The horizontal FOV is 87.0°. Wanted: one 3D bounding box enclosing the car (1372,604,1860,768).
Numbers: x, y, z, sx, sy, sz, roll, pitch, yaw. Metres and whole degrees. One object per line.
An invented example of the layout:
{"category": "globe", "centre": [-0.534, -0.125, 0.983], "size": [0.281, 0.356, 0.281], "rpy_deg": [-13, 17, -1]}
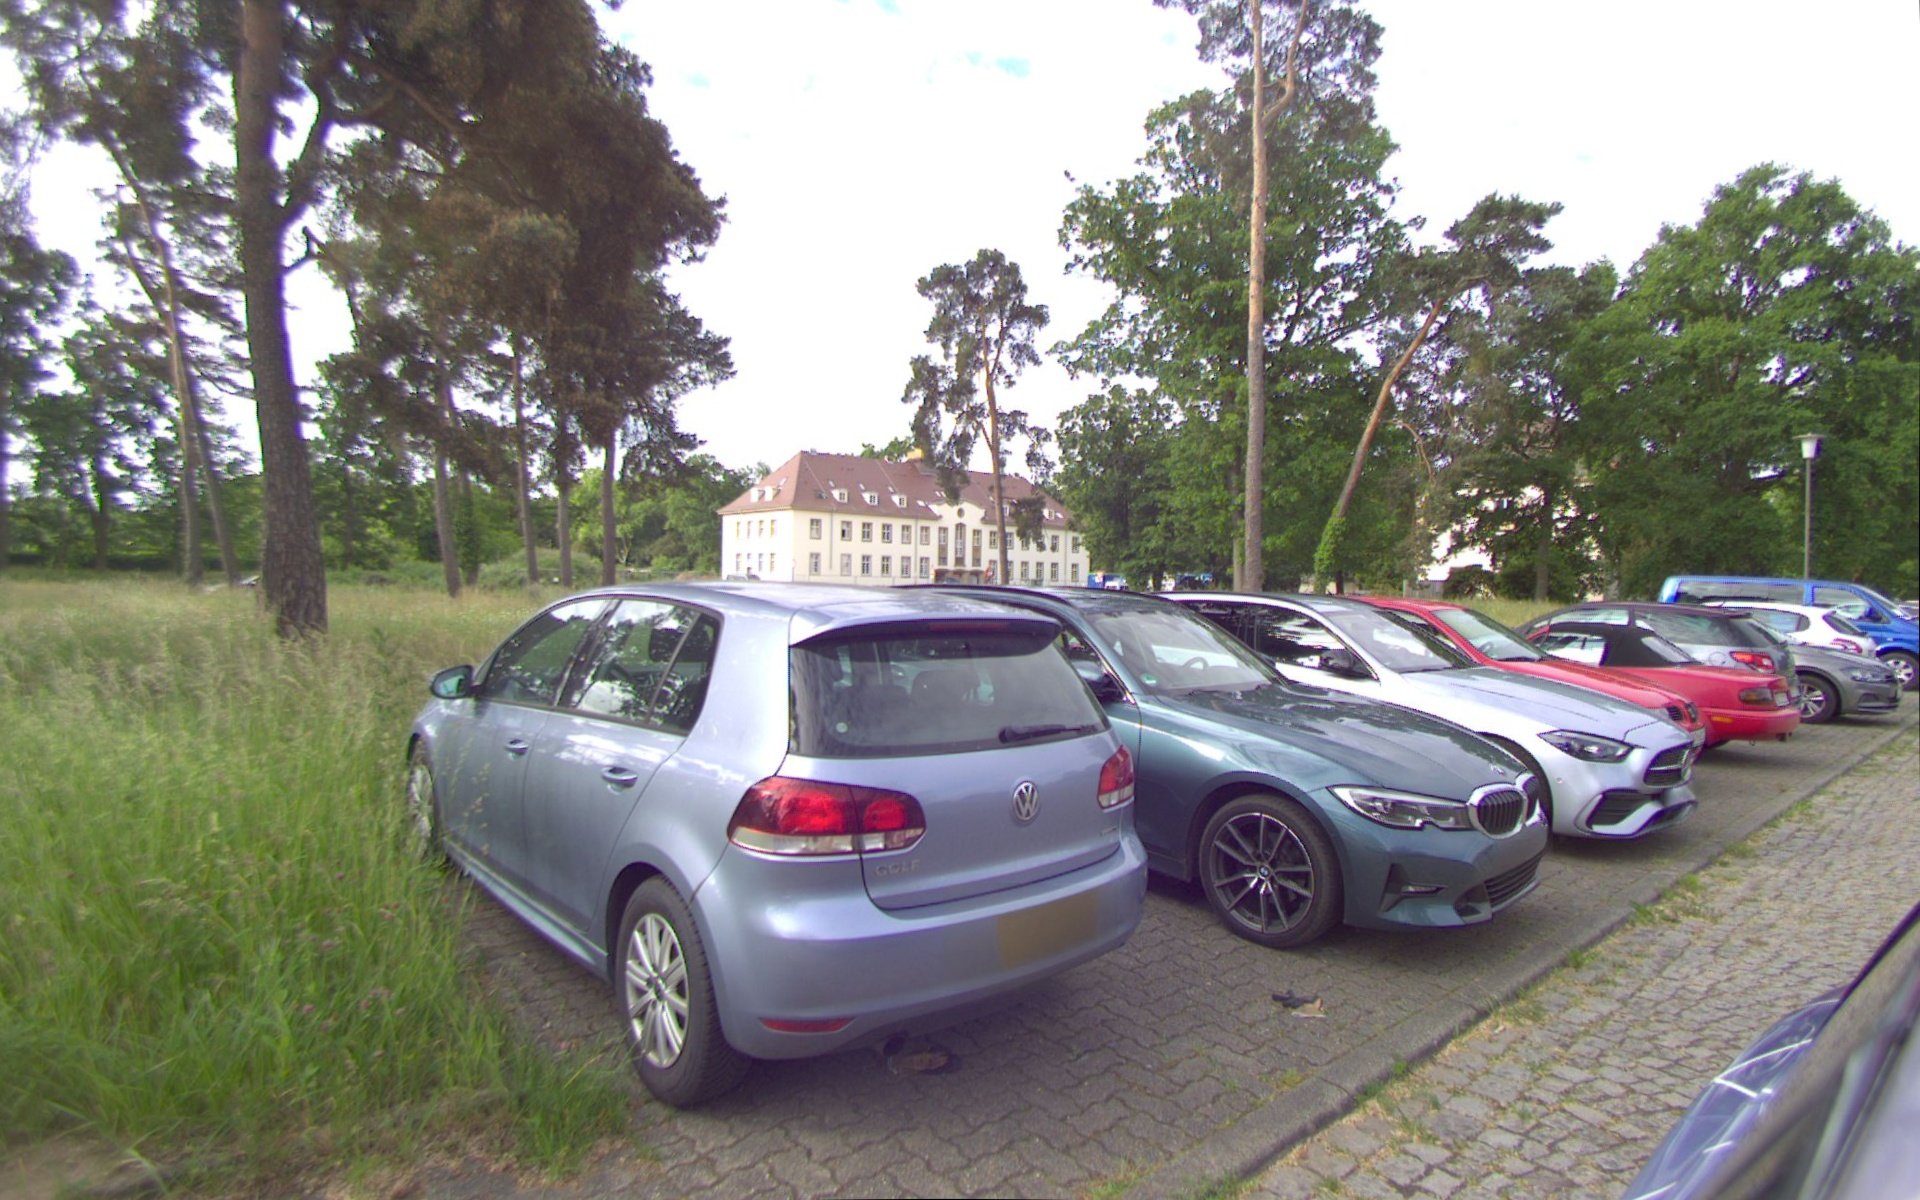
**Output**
{"category": "car", "centre": [6.634, 0.731, 10.589], "size": [1.764, 1.250, 3.932], "rpy_deg": [0, 2, -39]}

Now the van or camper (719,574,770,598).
{"category": "van or camper", "centre": [-22.580, -1.503, 105.773], "size": [2.423, 2.335, 6.116], "rpy_deg": [0, 2, -42]}

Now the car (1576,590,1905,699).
{"category": "car", "centre": [12.482, 0.611, 16.381], "size": [1.765, 1.467, 3.931], "rpy_deg": [0, 1, -40]}

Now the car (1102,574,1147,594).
{"category": "car", "centre": [17.118, -1.674, 105.035], "size": [4.752, 2.039, 2.163], "rpy_deg": [0, 1, -43]}

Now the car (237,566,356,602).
{"category": "car", "centre": [-30.880, -0.755, 47.154], "size": [4.375, 1.606, 1.996], "rpy_deg": [0, 1, -43]}

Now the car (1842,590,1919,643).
{"category": "car", "centre": [30.703, 0.539, 32.070], "size": [1.967, 1.589, 3.991], "rpy_deg": [0, 2, -43]}

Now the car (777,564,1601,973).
{"category": "car", "centre": [0.864, 0.541, 5.982], "size": [1.765, 1.463, 4.628], "rpy_deg": [0, 2, -40]}

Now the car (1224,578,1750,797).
{"category": "car", "centre": [4.616, 0.593, 9.372], "size": [1.764, 1.531, 3.934], "rpy_deg": [0, 1, -38]}

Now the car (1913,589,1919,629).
{"category": "car", "centre": [41.794, 0.422, 41.460], "size": [1.964, 1.645, 3.791], "rpy_deg": [0, 1, -39]}

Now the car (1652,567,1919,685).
{"category": "car", "centre": [16.549, 0.408, 19.554], "size": [1.963, 2.039, 4.844], "rpy_deg": [0, 1, -36]}

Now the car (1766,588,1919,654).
{"category": "car", "centre": [23.047, 0.500, 25.460], "size": [1.835, 1.523, 3.998], "rpy_deg": [0, 1, -38]}

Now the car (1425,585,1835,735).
{"category": "car", "centre": [8.178, 0.603, 12.652], "size": [1.764, 1.494, 3.932], "rpy_deg": [0, 1, -39]}

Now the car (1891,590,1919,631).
{"category": "car", "centre": [38.356, 0.438, 38.710], "size": [1.964, 1.589, 3.791], "rpy_deg": [0, 1, -39]}

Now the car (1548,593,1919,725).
{"category": "car", "centre": [10.607, 0.679, 13.970], "size": [1.765, 1.453, 3.931], "rpy_deg": [0, 1, -40]}

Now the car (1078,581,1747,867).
{"category": "car", "centre": [3.022, 0.626, 7.614], "size": [1.764, 1.463, 4.268], "rpy_deg": [0, 1, -38]}

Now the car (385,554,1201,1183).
{"category": "car", "centre": [-1.130, 0.554, 4.420], "size": [1.764, 1.436, 3.996], "rpy_deg": [0, 1, -39]}

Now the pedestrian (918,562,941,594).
{"category": "pedestrian", "centre": [-2.137, -1.507, 70.058], "size": [1.037, 2.205, 1.183], "rpy_deg": [0, 1, -40]}
